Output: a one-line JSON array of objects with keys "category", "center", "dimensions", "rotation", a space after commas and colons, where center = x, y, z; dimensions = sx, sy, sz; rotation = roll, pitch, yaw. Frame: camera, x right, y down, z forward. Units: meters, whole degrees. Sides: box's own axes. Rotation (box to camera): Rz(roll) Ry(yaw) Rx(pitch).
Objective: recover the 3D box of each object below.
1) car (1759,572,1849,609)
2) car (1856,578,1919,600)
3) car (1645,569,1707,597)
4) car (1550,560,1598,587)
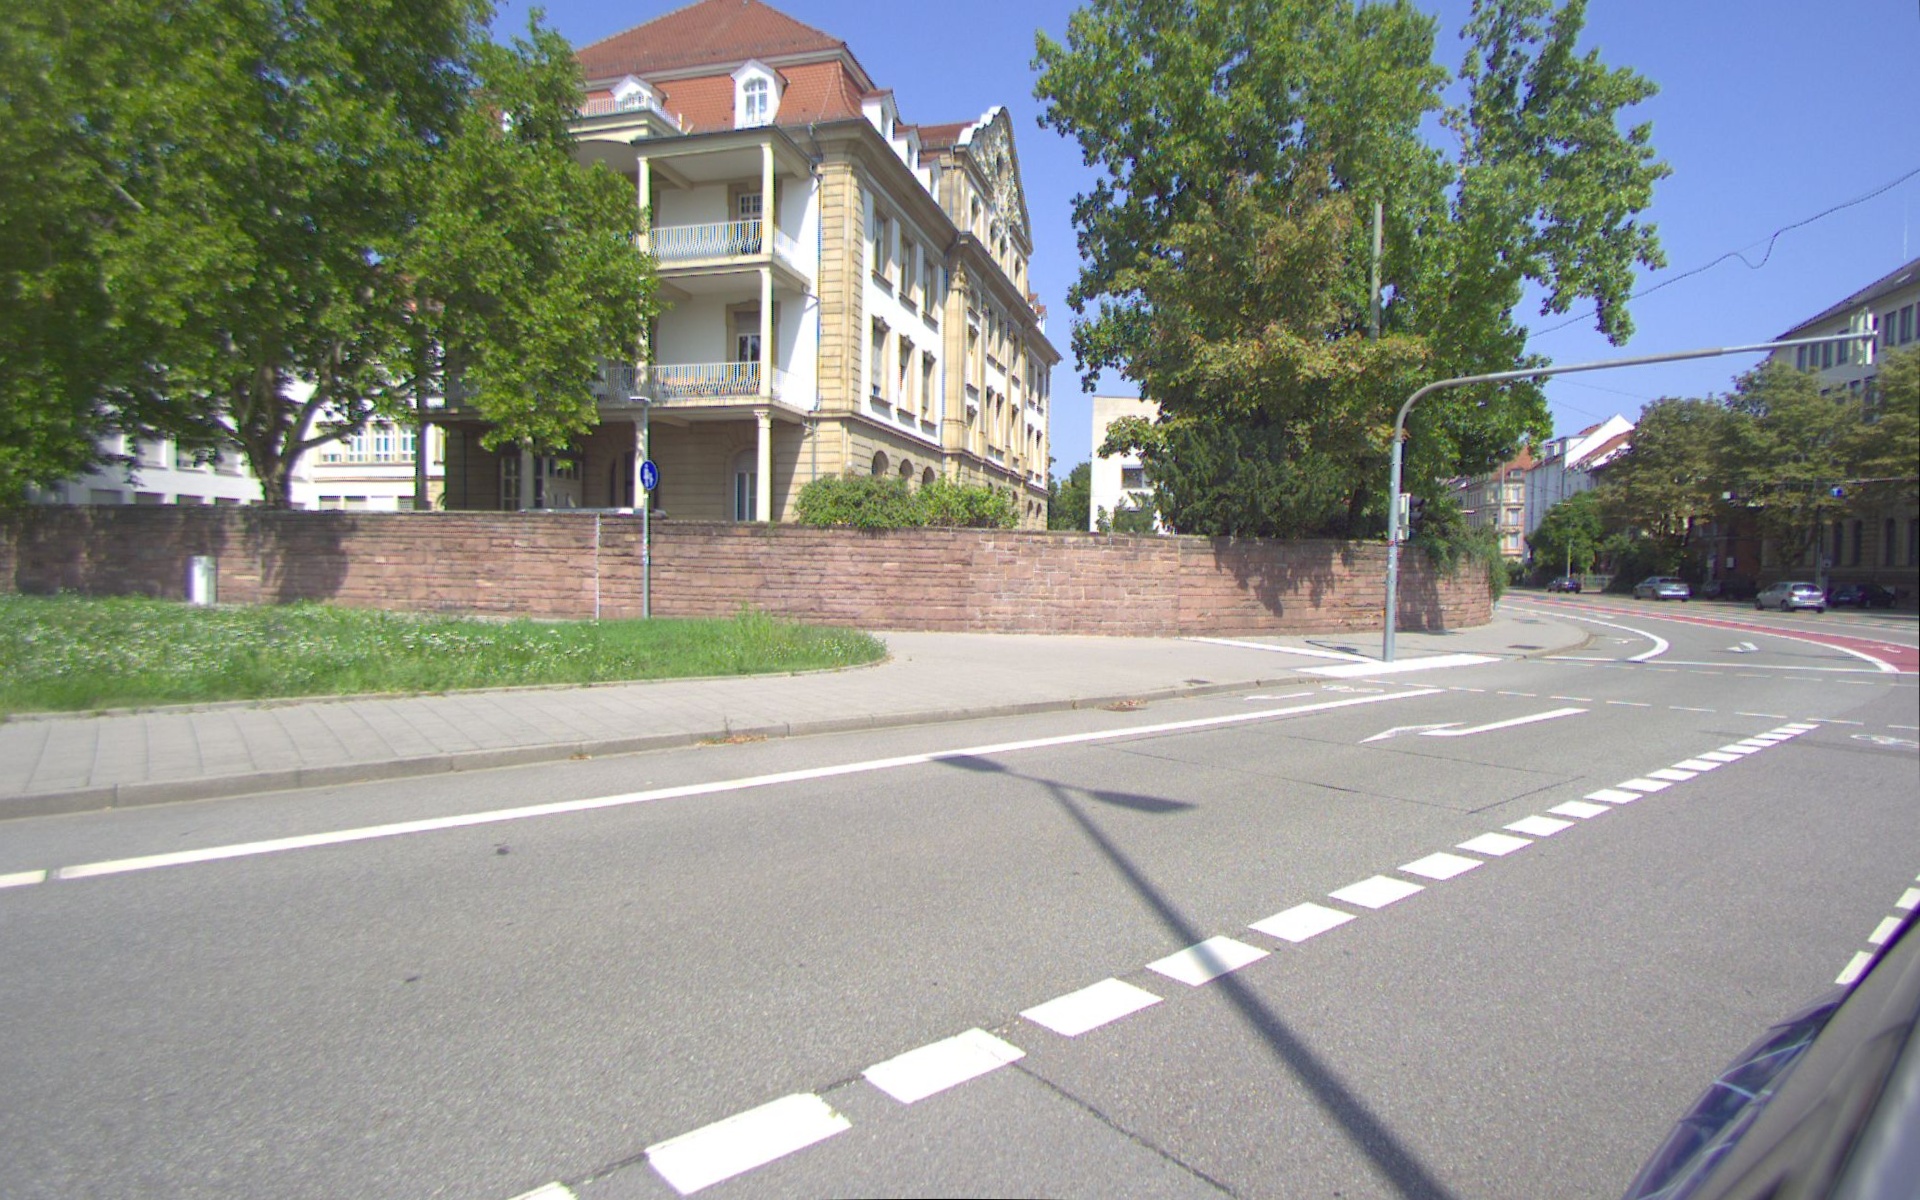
[{"category": "car", "center": [42.234, -0.503, 50.759], "dimensions": [1.973, 1.690, 3.980], "rotation": [2, 2, 16]}, {"category": "car", "center": [53.856, -0.636, 58.339], "dimensions": [3.010, 1.190, 1.248], "rotation": [2, 2, 12]}, {"category": "car", "center": [46.612, -1.131, 65.983], "dimensions": [1.972, 1.660, 3.981], "rotation": [2, 2, 16]}, {"category": "car", "center": [51.344, -2.245, 84.702], "dimensions": [2.273, 2.186, 4.209], "rotation": [2, 2, 16]}]
